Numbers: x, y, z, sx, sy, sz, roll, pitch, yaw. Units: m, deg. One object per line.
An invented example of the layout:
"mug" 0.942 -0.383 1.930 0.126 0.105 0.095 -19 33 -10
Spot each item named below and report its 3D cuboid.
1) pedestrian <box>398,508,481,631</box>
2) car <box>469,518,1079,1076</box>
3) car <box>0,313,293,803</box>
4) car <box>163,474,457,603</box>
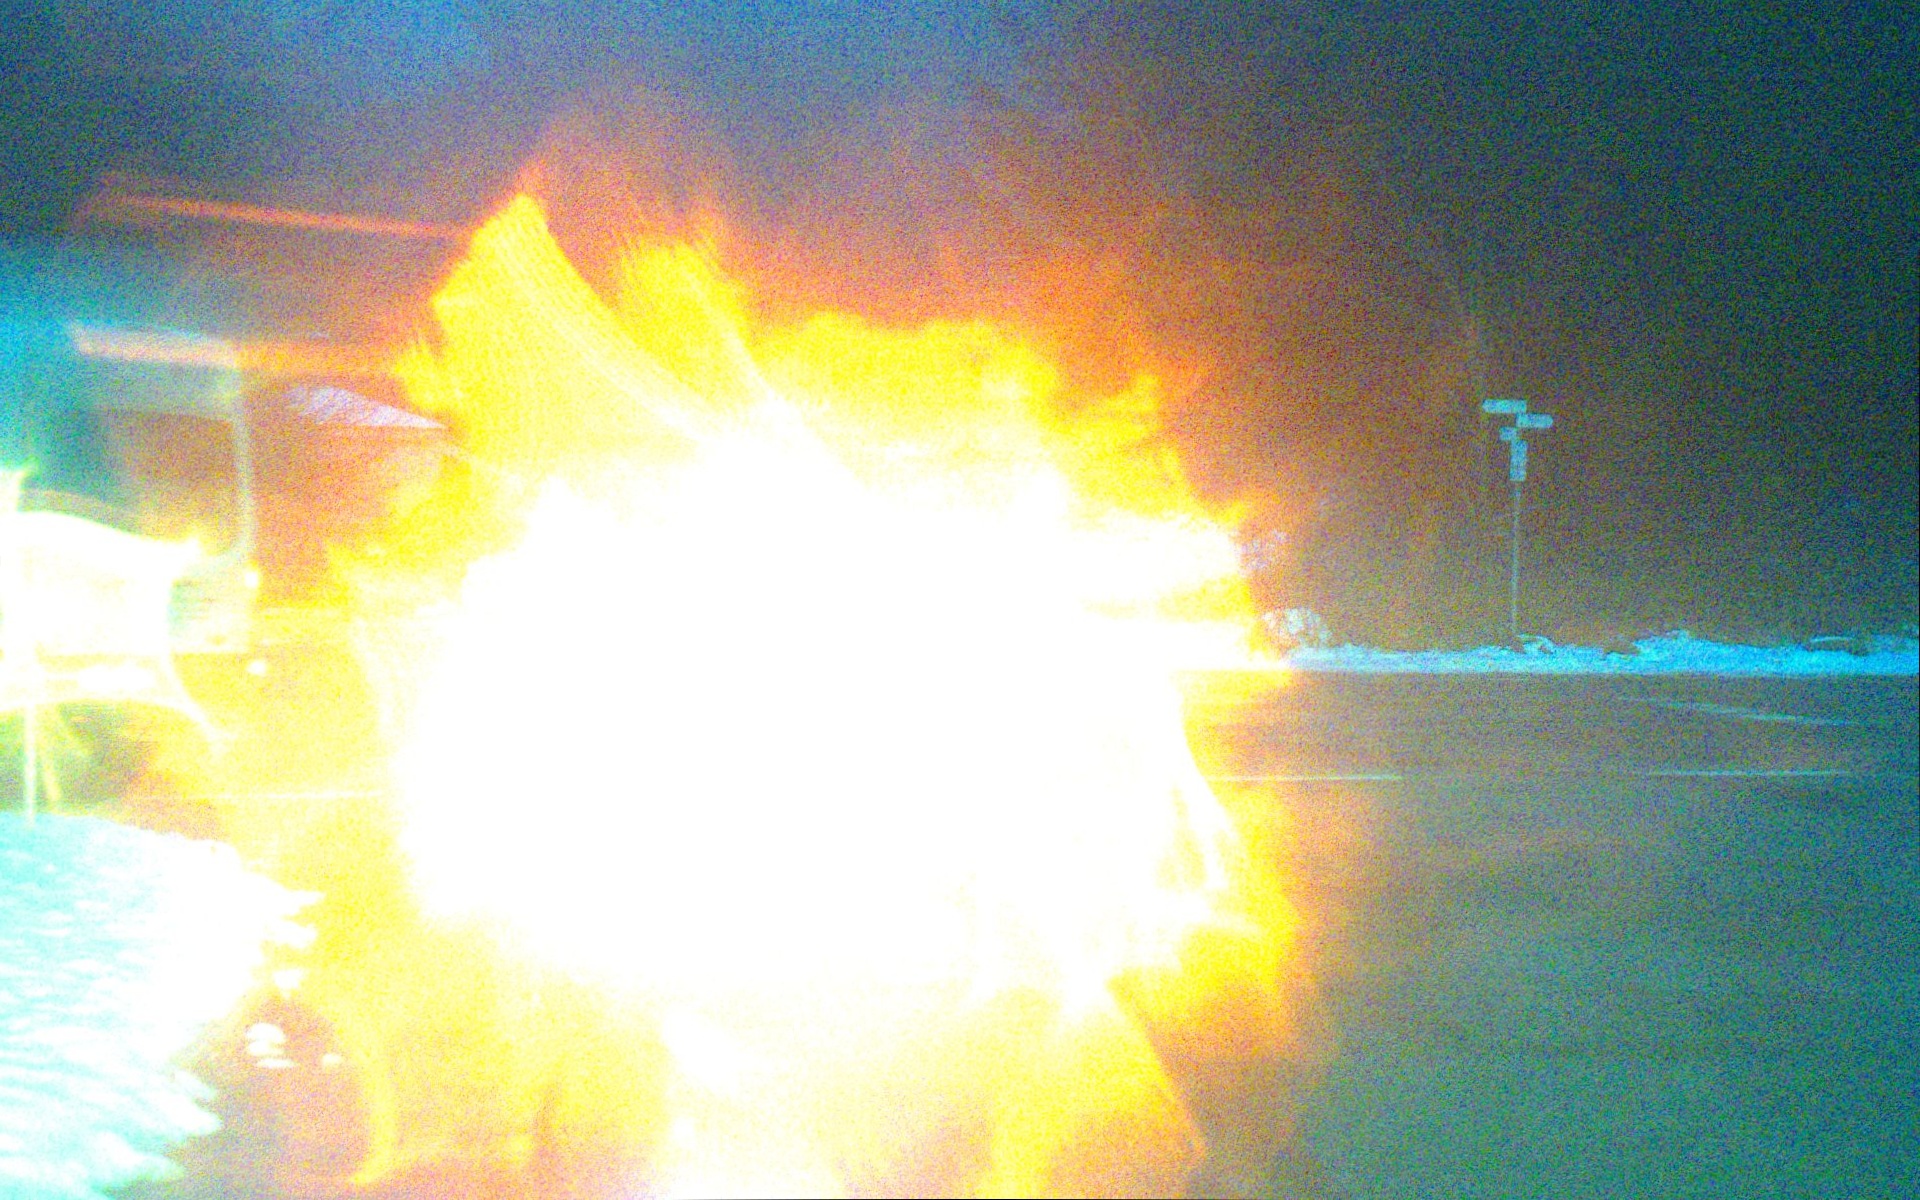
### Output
"pedestrian" -7.844 -0.460 51.839 0.961 1.821 0.924 1 0 12
"car" -0.547 0.514 11.594 1.692 1.547 3.856 1 1 -1
"car" -6.945 -0.270 21.220 5.521 2.686 2.149 1 0 32
"car" -9.876 -0.926 52.379 3.948 1.875 1.999 1 0 8
